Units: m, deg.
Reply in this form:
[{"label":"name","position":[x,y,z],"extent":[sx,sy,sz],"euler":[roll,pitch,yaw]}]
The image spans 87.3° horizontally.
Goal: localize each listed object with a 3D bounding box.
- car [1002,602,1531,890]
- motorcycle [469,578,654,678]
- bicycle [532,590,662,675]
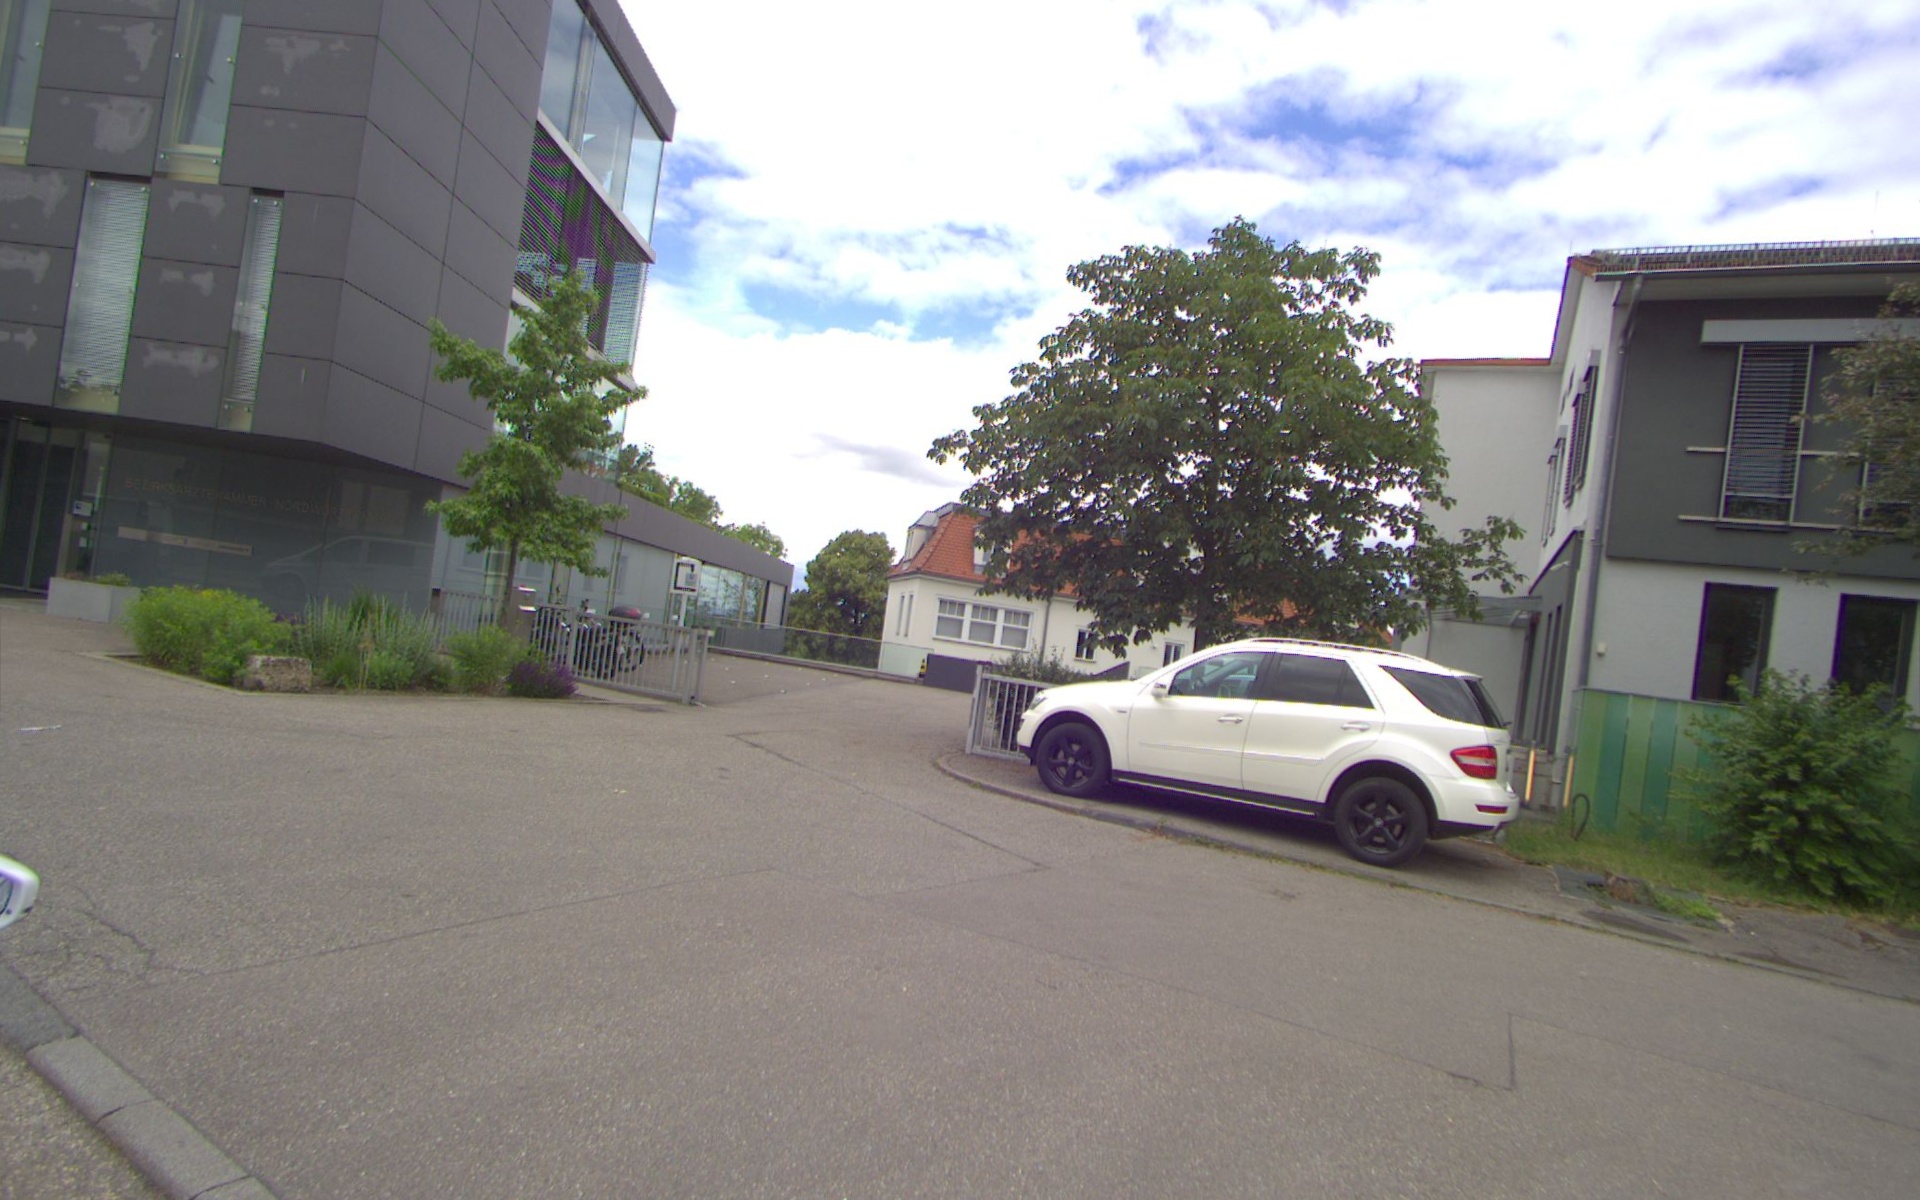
[{"label":"car","position":[2.914,1.209,9.815],"extent":[4.442,1.860,1.996],"euler":[6,-1,31]},{"label":"motorcycle","position":[-6.628,0.464,16.824],"extent":[2.643,1.275,0.850],"euler":[8,-1,5]},{"label":"bicycle","position":[-6.719,0.610,18.643],"extent":[2.063,1.275,0.616],"euler":[8,-1,5]}]
